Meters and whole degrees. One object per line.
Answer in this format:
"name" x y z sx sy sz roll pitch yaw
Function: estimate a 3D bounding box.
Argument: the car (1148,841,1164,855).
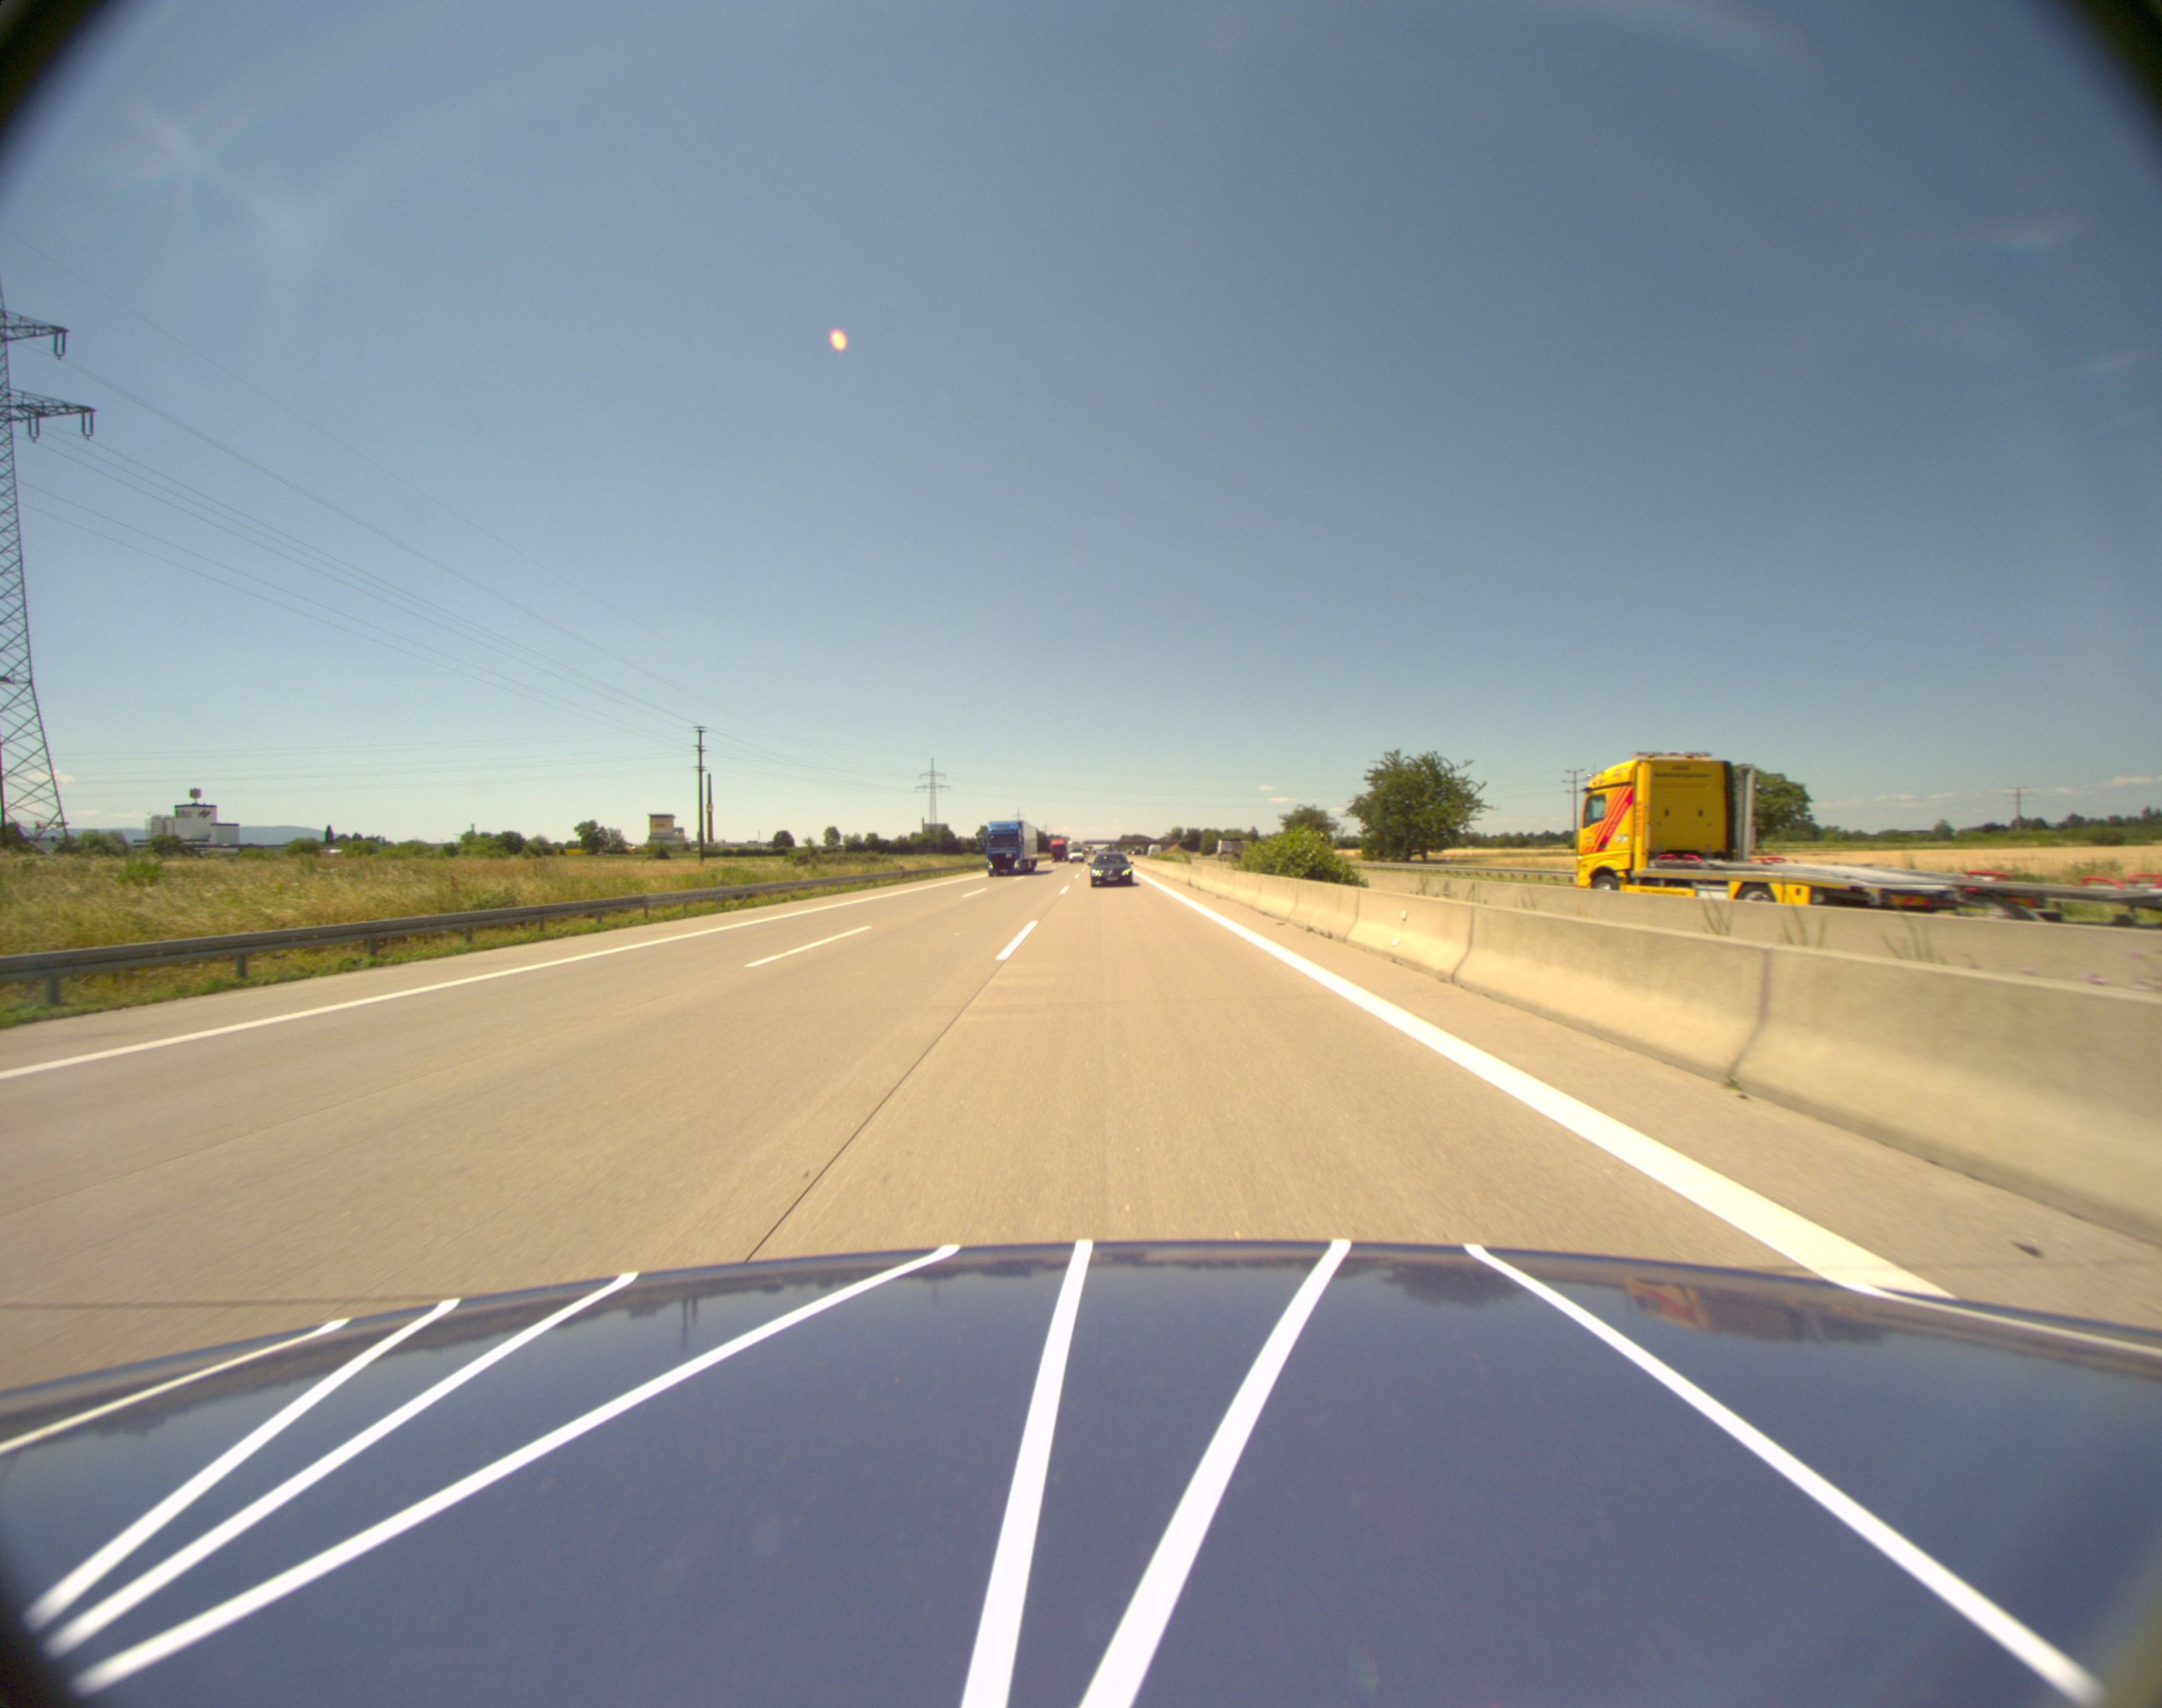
"car" 12.721 -0.968 129.371 2.216 2.176 6.325 -3 0 1

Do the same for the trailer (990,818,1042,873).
"trailer" -5.274 -0.683 64.054 2.715 4.020 12.902 -3 0 2

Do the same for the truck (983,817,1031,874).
"truck" -5.453 -0.625 57.106 2.757 4.020 5.466 -3 1 2

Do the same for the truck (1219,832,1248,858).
"truck" 20.686 -1.205 103.626 2.813 3.285 5.613 -3 1 1

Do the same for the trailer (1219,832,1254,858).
"trailer" 20.631 -1.189 101.294 2.835 3.285 9.462 -3 0 1

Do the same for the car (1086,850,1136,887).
"car" 1.278 0.587 34.606 1.998 1.462 6.347 -3 0 1

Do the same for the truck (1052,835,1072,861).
"truck" -3.400 -1.118 137.856 2.855 4.298 10.886 -3 0 2

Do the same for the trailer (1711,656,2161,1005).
"trailer" 13.769 -0.311 7.782 2.783 4.016 14.612 -3 0 2

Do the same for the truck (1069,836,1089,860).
"truck" -0.236 -0.918 113.819 2.784 3.328 7.812 -3 0 1

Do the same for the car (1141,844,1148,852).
"car" 22.174 -2.064 264.822 2.253 2.770 6.792 -3 0 3

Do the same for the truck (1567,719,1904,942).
"truck" 14.035 -0.446 17.002 2.750 4.056 5.540 -3 1 1

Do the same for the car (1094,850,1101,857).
"car" 4.157 -0.115 191.133 1.683 1.444 3.564 -3 0 3

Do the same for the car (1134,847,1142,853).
"car" 15.446 -1.144 206.784 1.998 1.440 4.682 -3 0 1
